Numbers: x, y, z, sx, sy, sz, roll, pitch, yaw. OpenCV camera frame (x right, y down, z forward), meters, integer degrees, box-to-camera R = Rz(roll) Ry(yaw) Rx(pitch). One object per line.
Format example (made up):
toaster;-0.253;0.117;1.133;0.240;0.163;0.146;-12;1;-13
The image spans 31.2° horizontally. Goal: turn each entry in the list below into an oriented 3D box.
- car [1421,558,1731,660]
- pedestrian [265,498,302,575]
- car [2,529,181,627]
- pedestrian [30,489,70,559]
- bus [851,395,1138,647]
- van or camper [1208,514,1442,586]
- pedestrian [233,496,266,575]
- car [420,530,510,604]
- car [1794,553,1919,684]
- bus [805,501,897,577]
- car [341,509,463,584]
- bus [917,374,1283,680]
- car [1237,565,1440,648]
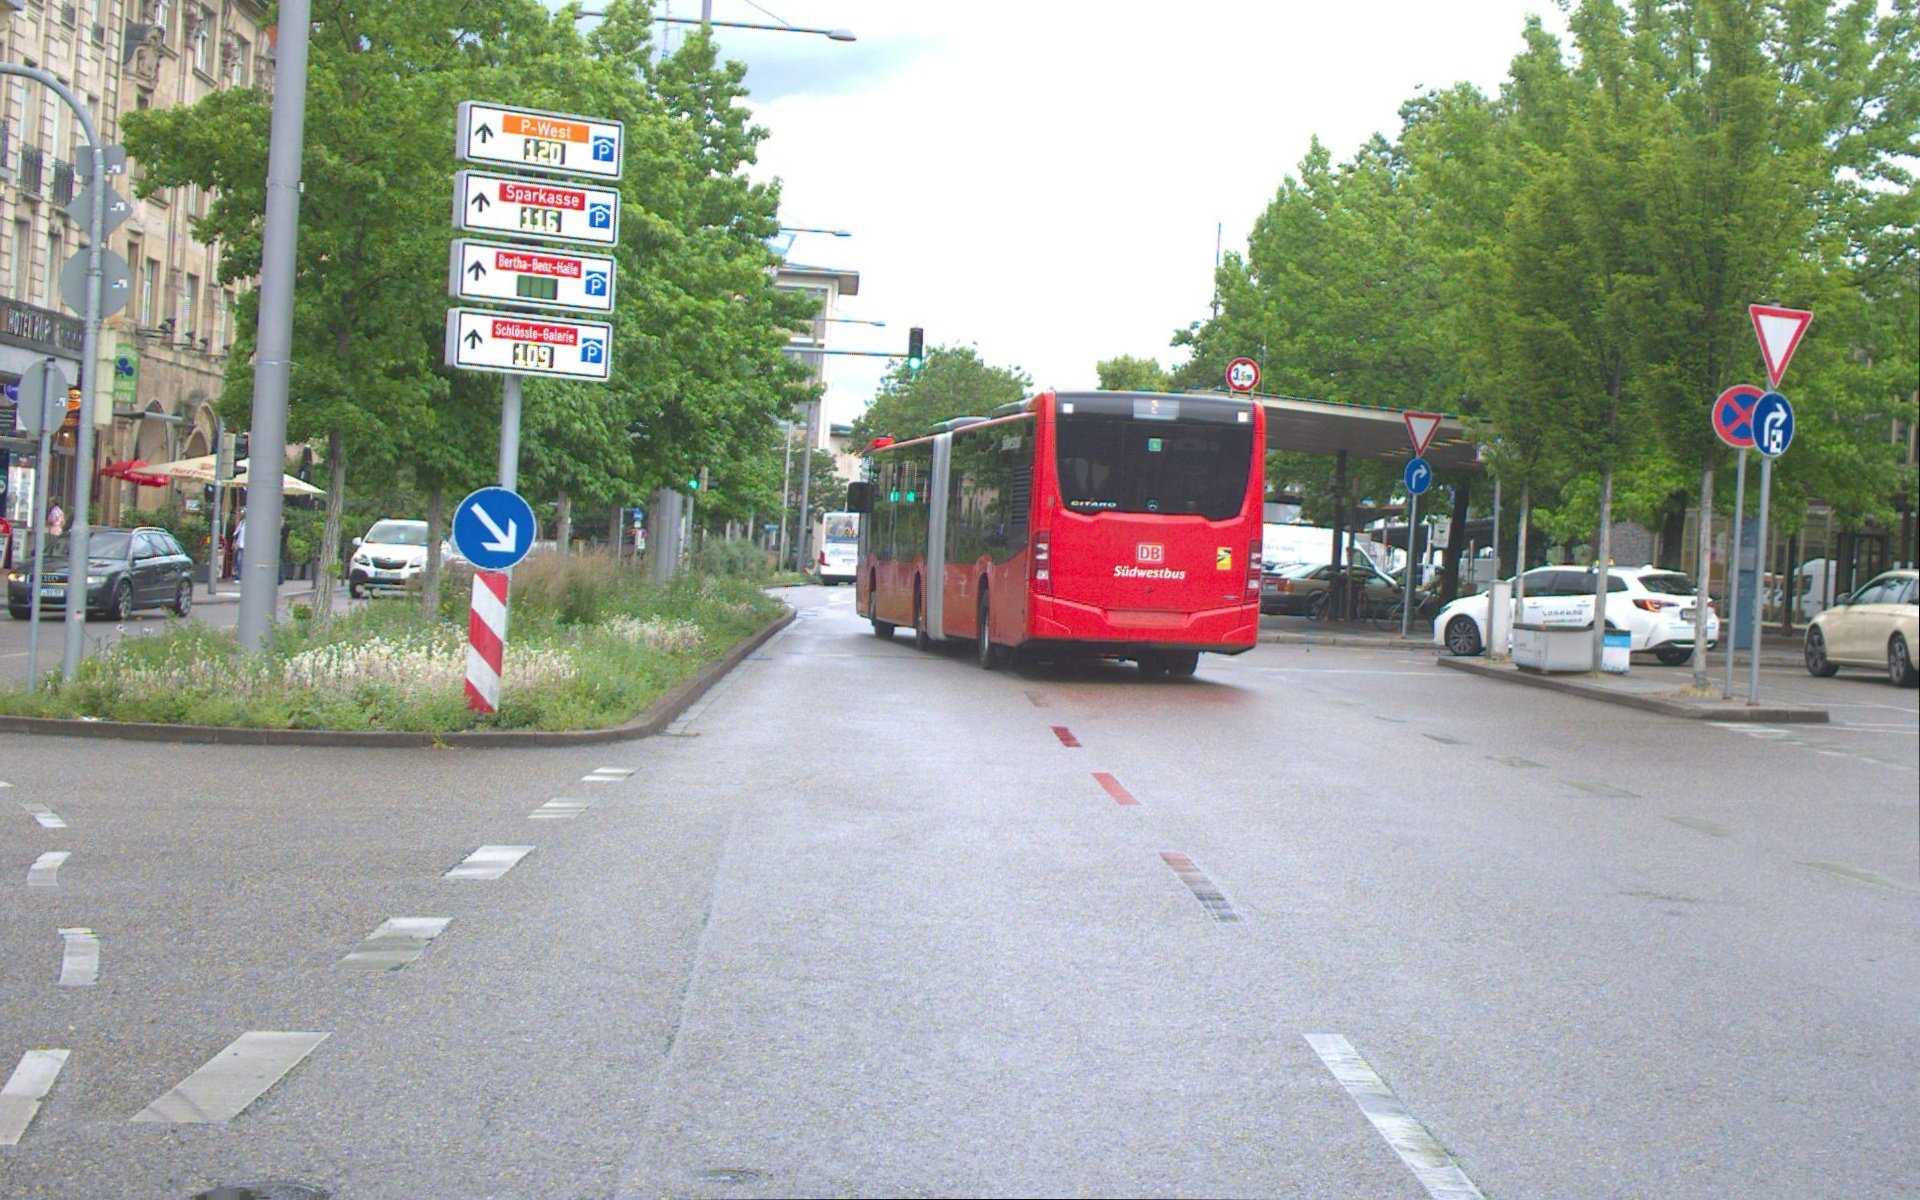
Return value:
car;9.101;0.106;51.066;1.774;1.380;4.366;0;1;-41
pedestrian;-15.092;-1.406;76.680;0.674;1.696;0.634;1;1;-1
car;-13.359;-0.368;53.101;1.755;1.364;4.060;2;2;-1
pedestrian;-19.745;-1.652;74.595;0.661;1.505;0.519;1;1;-38
bus;0.290;-1.098;48.966;2.742;3.163;10.197;1;1;-7
van or camper;11.003;-1.482;103.529;6.753;2.007;2.385;1;0;-26
pedestrian;-15.836;-1.439;76.671;0.575;1.726;0.609;2;1;-1
car;-12.332;-0.847;85.842;1.993;1.752;4.001;1;1;-6
car;12.608;0.229;44.299;1.993;1.594;4.824;1;1;-7
bus;-5.028;-2.776;155.837;3.760;3.198;15.528;1;1;-3
car;-11.693;-1.152;72.274;1.755;1.364;4.060;2;3;2
bus;1.442;-0.837;40.294;2.742;3.163;8.123;1;1;-8
car;9.057;0.149;82.280;4.335;1.851;2.001;1;1;-20
